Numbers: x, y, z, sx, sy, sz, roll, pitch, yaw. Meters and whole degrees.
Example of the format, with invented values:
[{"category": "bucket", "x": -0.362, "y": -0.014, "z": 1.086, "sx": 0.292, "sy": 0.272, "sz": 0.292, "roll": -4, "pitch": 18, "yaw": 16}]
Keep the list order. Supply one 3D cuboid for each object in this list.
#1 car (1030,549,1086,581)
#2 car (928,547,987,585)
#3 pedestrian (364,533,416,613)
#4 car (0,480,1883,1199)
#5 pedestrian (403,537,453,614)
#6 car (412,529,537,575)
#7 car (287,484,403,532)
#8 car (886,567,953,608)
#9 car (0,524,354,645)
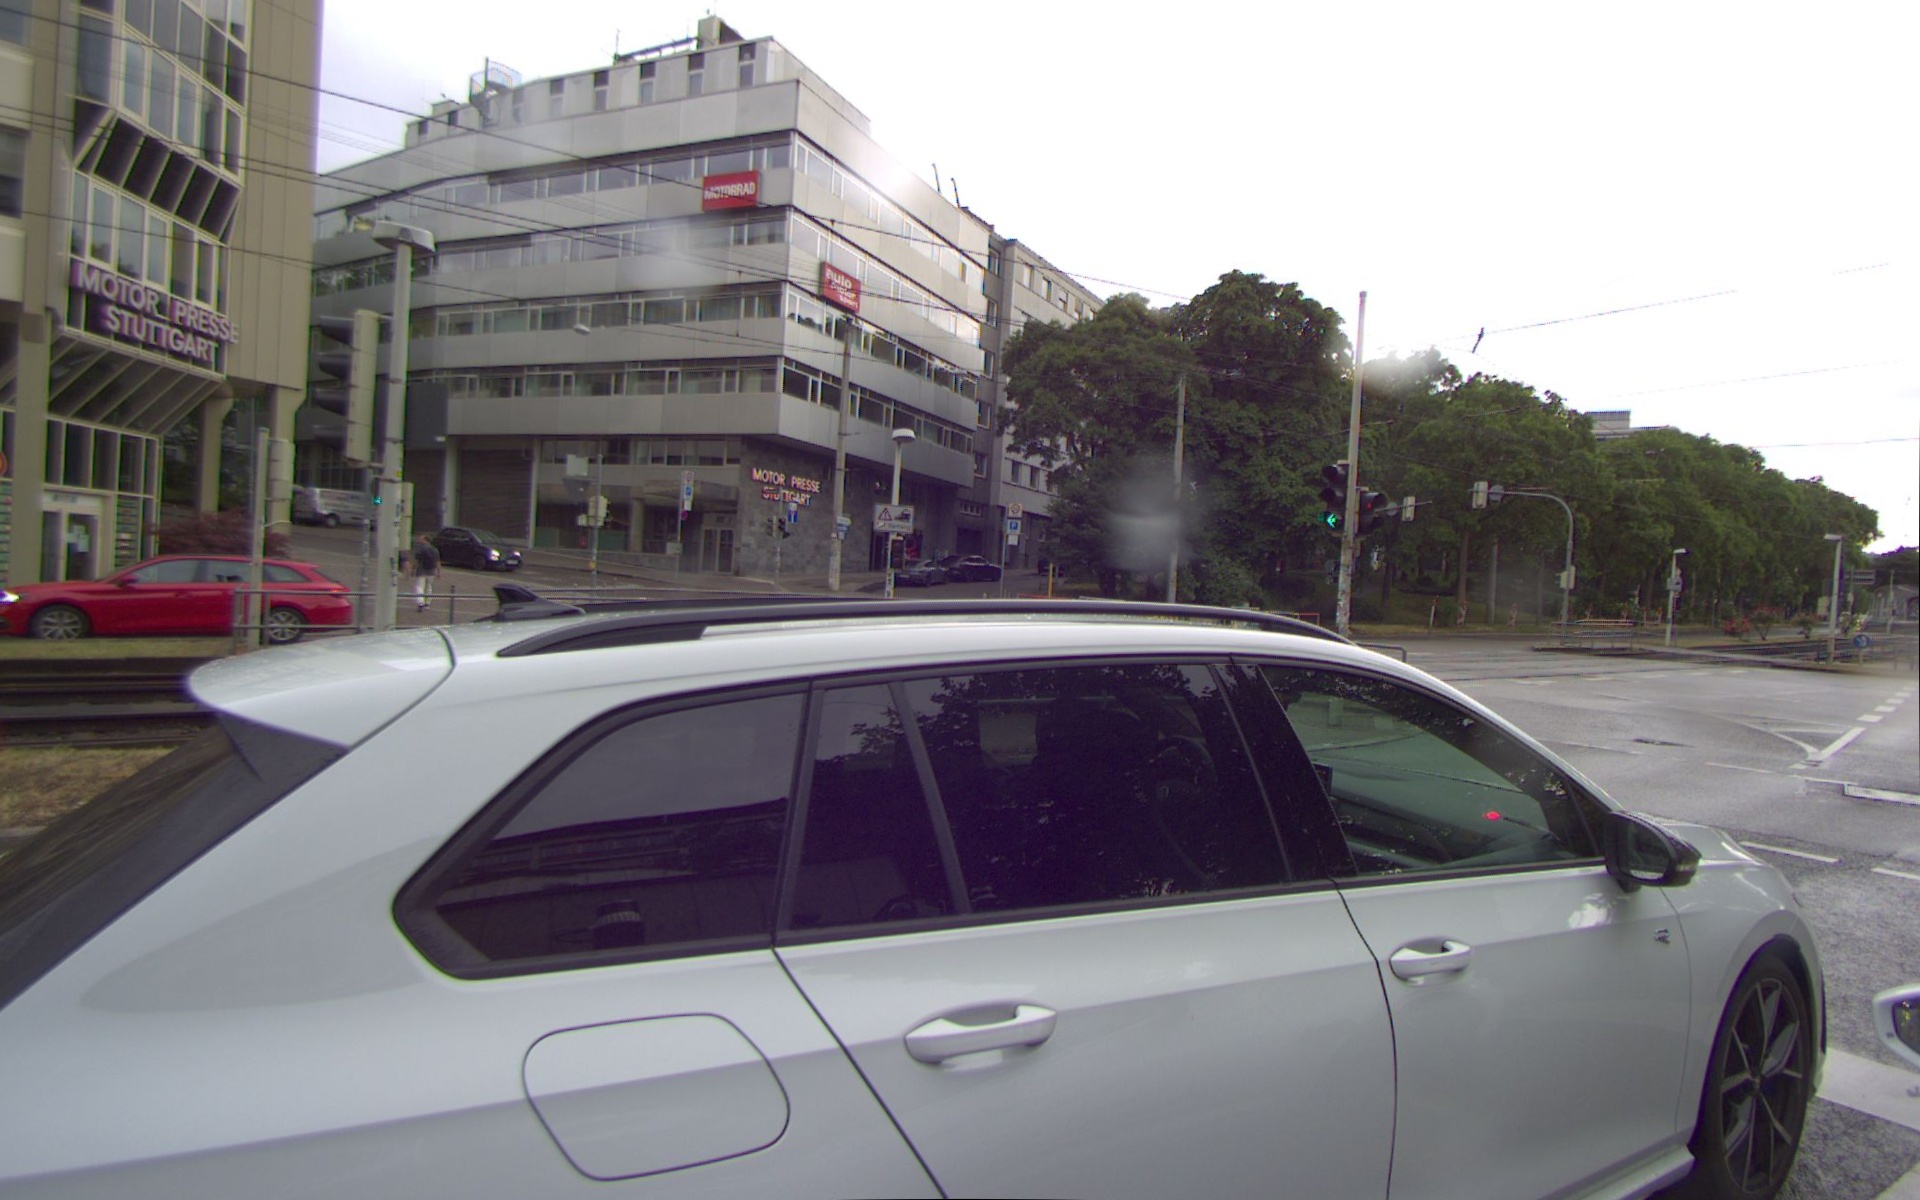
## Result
[{"category": "car", "x": 6.492, "y": -2.283, "z": 65.944, "sx": 1.964, "sy": 1.818, "sz": 4.202, "roll": 5, "pitch": 2, "yaw": 30}, {"category": "car", "x": -0.102, "y": -1.938, "z": 55.659, "sx": 1.961, "sy": 1.818, "sz": 3.998, "roll": 5, "pitch": 5, "yaw": 19}, {"category": "pedestrian", "x": -13.357, "y": -0.617, "z": 23.539, "sx": 0.630, "sy": 1.811, "sz": 0.808, "roll": 6, "pitch": 3, "yaw": 36}, {"category": "car", "x": 0.172, "y": 0.719, "z": 2.296, "sx": 4.203, "sy": 1.597, "sz": 1.670, "roll": 1, "pitch": 1, "yaw": -31}, {"category": "pedestrian", "x": -12.903, "y": -0.583, "z": 24.377, "sx": 0.630, "sy": 1.811, "sz": 0.808, "roll": 6, "pitch": 3, "yaw": 36}, {"category": "car", "x": -17.970, "y": -1.762, "z": 37.232, "sx": 3.920, "sy": 1.383, "sz": 1.830, "roll": 5, "pitch": 2, "yaw": 16}, {"category": "car", "x": -32.103, "y": -4.767, "z": 52.595, "sx": 1.963, "sy": 2.040, "sz": 4.831, "roll": 5, "pitch": 2, "yaw": 26}, {"category": "car", "x": -2.006, "y": -0.628, "z": 50.798, "sx": 1.961, "sy": 1.818, "sz": 4.000, "roll": 5, "pitch": 2, "yaw": 19}, {"category": "car", "x": -12.388, "y": -0.201, "z": 15.974, "sx": 4.385, "sy": 1.662, "sz": 1.962, "roll": 2, "pitch": 2, "yaw": -43}]
